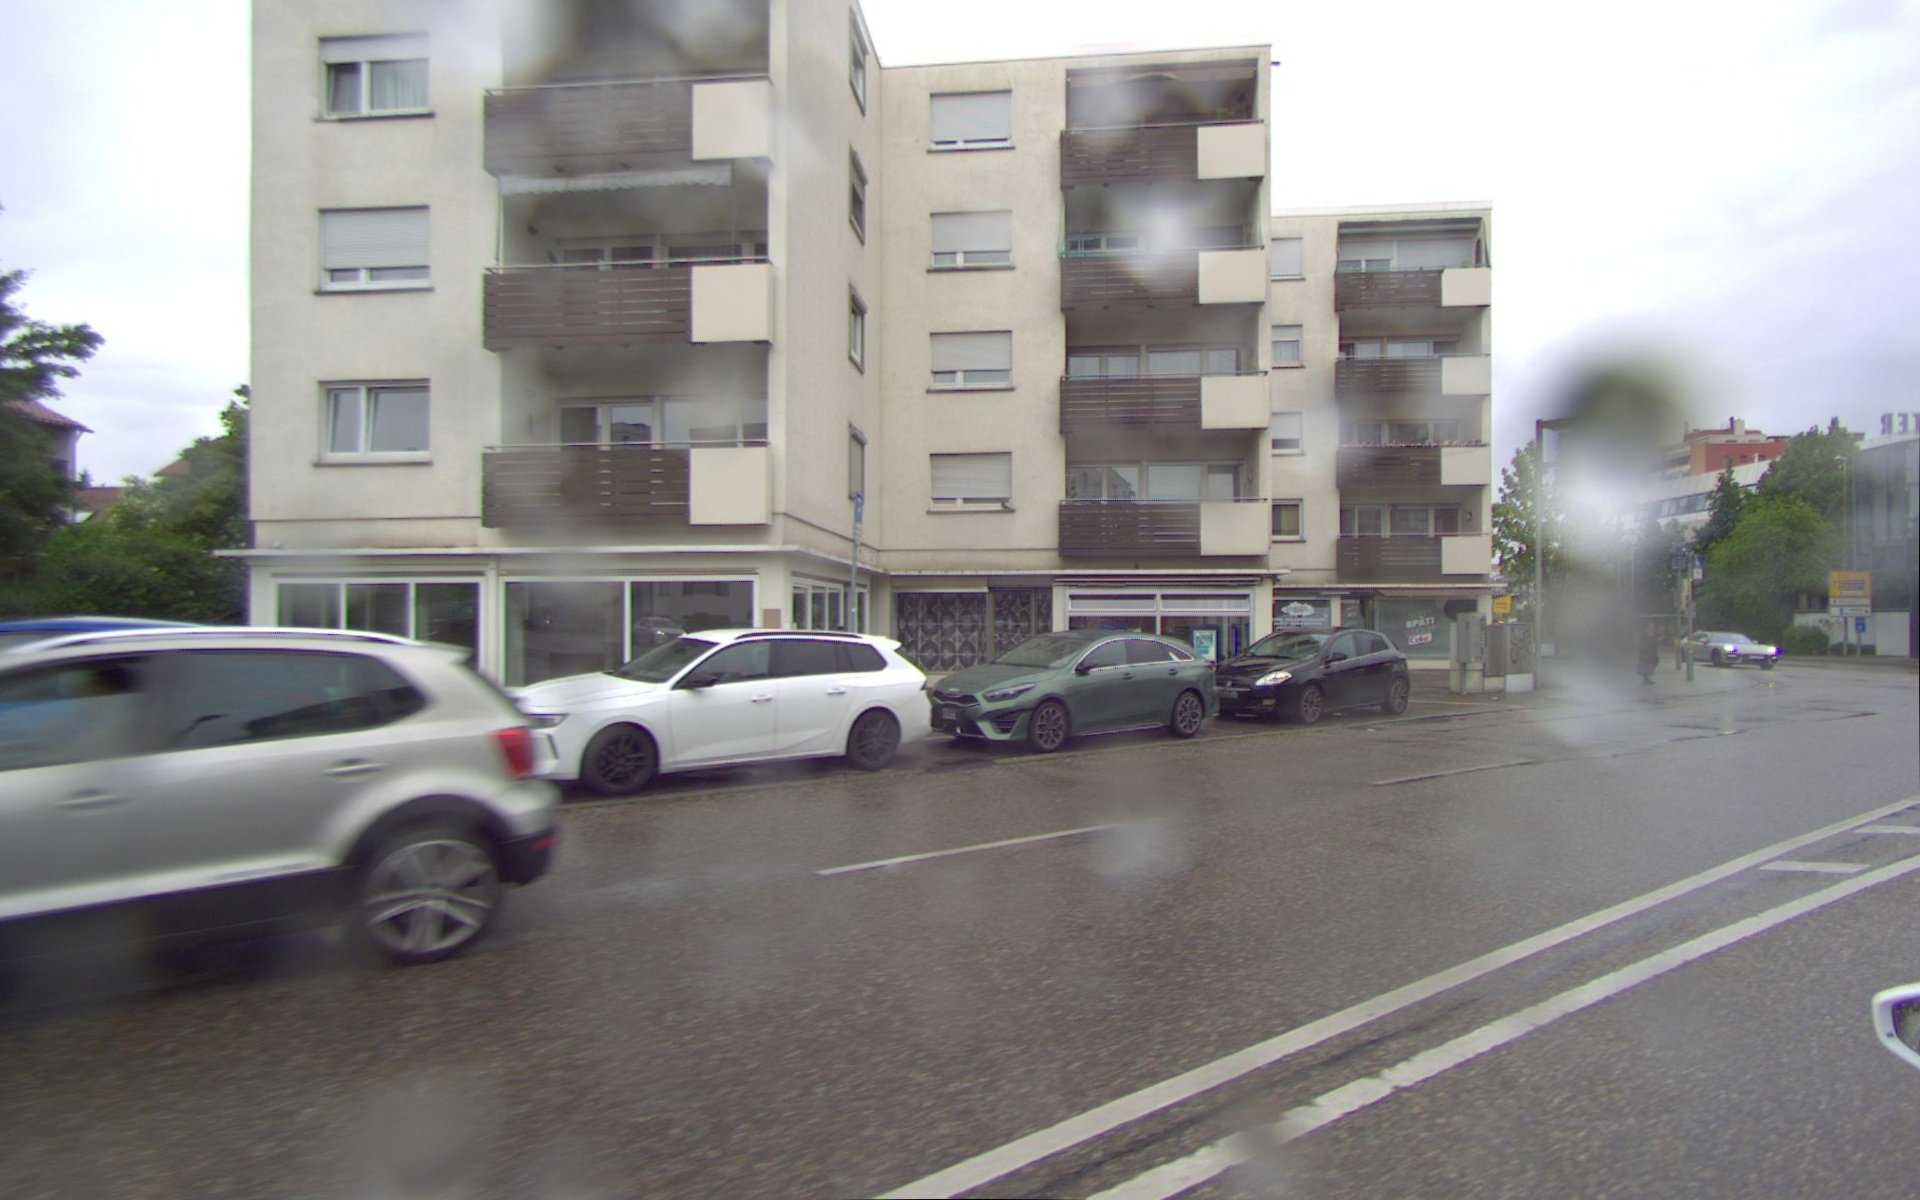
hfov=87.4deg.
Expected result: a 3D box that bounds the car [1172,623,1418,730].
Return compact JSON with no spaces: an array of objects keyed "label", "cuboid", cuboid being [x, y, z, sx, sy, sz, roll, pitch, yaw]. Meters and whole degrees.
[{"label":"car","cuboid":[5.672,1.171,16.823,4.234,1.562,1.920,1,-1,-38]}]

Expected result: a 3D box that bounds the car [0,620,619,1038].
[{"label":"car","cuboid":[-3.716,0.872,4.500,3.802,1.458,1.813,0,-2,-35]}]

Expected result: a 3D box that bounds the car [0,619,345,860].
[{"label":"car","cuboid":[-6.878,0.909,6.978,4.286,1.541,1.639,1,-1,-39]}]

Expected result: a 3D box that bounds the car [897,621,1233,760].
[{"label":"car","cuboid":[1.523,1.078,13.577,4.480,1.562,1.920,1,-1,-38]}]

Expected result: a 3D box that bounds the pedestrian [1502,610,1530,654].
[{"label":"pedestrian","cuboid":[27.371,1.554,49.498,1.008,2.041,0.963,3,3,22]}]

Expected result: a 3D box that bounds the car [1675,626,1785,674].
[{"label":"car","cuboid":[31.645,1.995,41.451,1.960,1.532,4.434,2,3,15]}]

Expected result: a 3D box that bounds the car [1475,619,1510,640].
[{"label":"car","cuboid":[52.542,2.913,99.149,1.959,2.040,4.003,0,-2,11]}]

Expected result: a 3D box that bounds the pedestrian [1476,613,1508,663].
[{"label":"pedestrian","cuboid":[23.072,1.640,43.573,1.008,2.041,0.963,3,3,22]}]

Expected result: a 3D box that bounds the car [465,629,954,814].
[{"label":"car","cuboid":[-2.401,1.056,10.373,4.642,1.483,1.680,1,-1,-38]}]

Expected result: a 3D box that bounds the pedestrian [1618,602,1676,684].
[{"label":"pedestrian","cuboid":[17.780,1.098,26.013,0.906,2.041,0.748,2,2,-17]}]
